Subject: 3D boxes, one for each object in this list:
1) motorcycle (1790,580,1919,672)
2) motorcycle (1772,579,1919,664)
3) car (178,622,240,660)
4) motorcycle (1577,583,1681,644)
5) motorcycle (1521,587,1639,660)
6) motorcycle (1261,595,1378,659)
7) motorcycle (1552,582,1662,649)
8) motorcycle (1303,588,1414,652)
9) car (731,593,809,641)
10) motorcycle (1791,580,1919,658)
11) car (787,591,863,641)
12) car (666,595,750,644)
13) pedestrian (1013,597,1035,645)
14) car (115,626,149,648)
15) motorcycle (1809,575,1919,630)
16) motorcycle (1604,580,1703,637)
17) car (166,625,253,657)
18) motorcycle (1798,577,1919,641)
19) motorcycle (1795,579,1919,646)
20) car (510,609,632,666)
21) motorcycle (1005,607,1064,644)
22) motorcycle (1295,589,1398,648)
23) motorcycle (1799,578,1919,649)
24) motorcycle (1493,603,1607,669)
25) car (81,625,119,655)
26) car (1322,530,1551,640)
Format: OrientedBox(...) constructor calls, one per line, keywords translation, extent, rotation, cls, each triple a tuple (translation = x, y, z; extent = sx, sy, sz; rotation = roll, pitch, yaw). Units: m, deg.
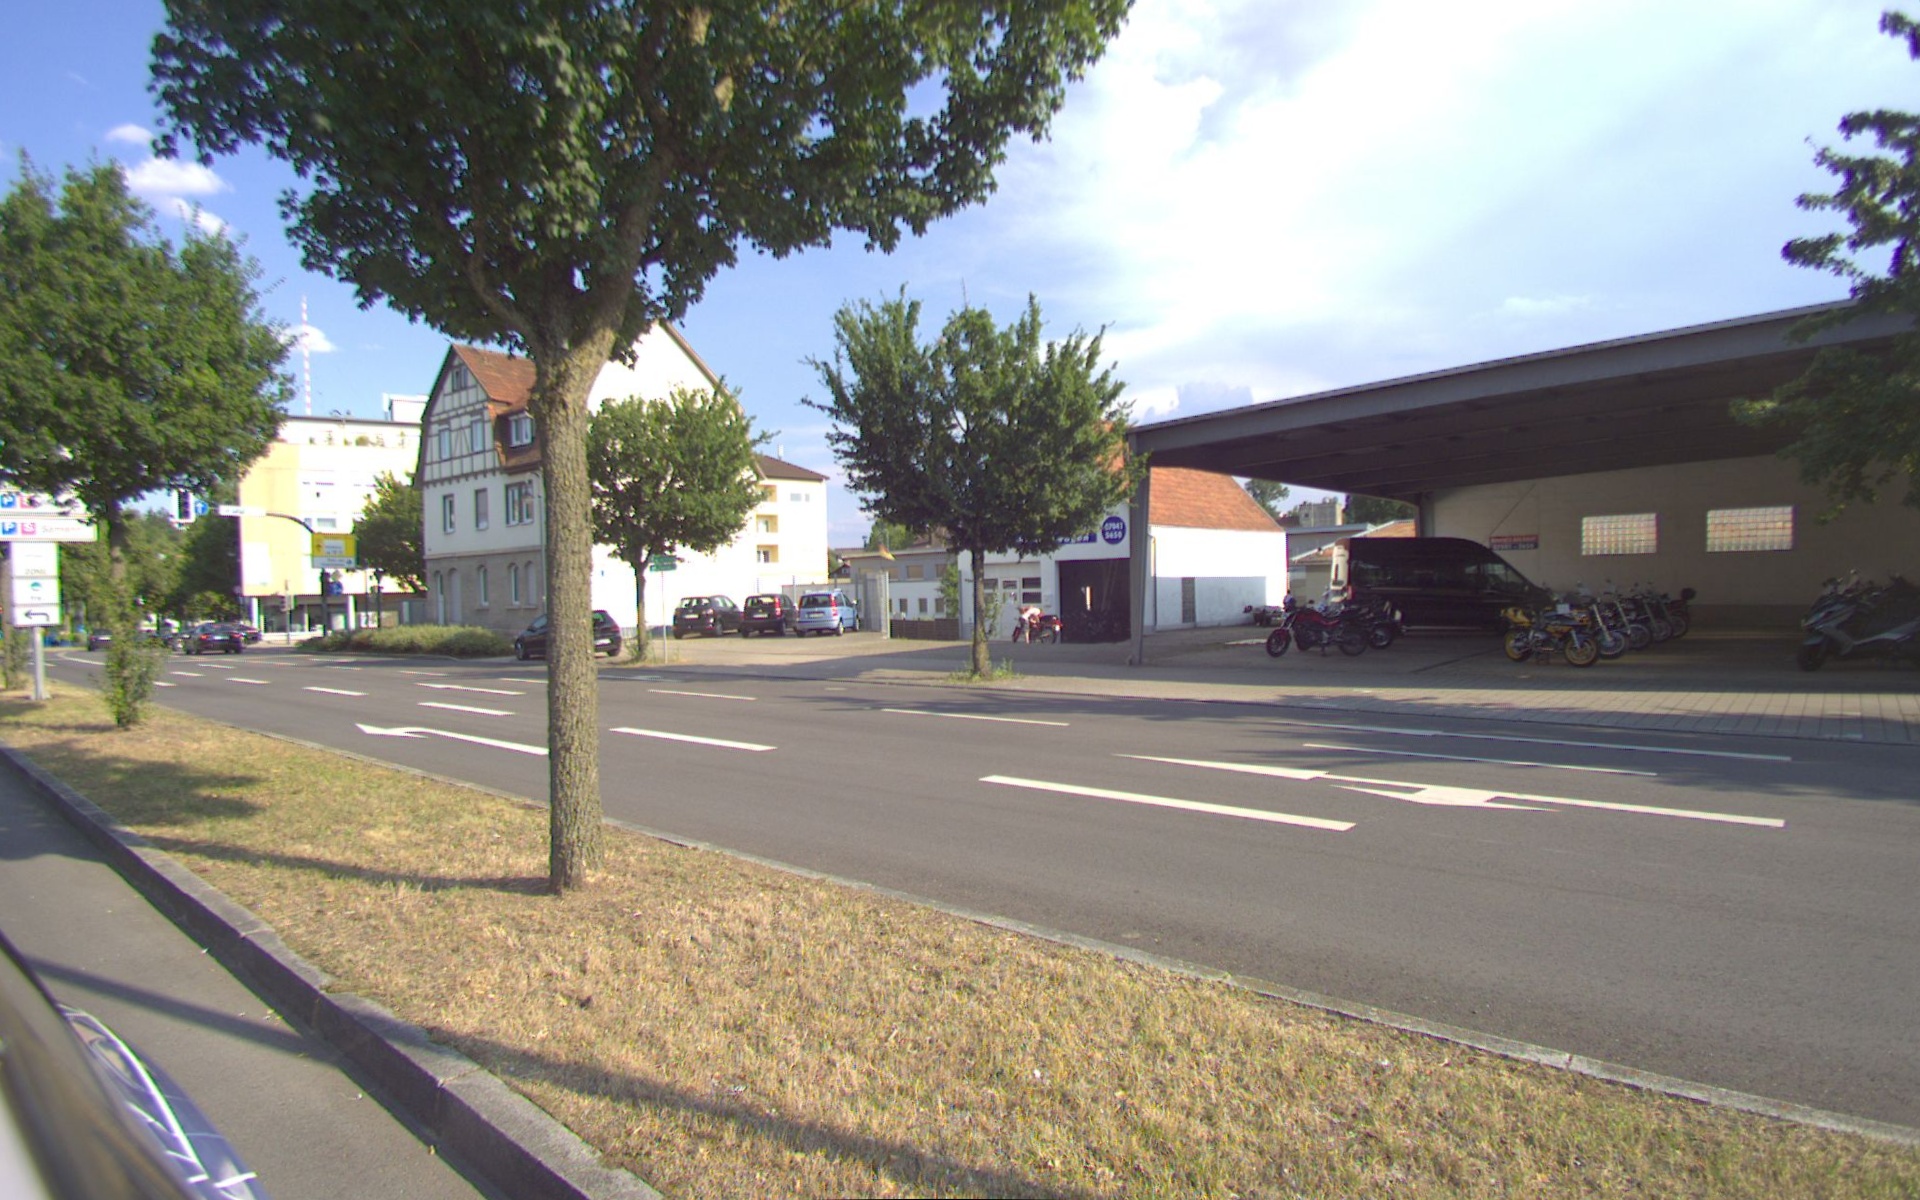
OrientedBox(translation=(13.862, 0.375, 15.122), extent=(2.103, 1.306, 0.628), rotation=(-3, -1, 17), cls="motorcycle")
OrientedBox(translation=(14.914, 0.361, 16.783), extent=(2.103, 1.306, 0.628), rotation=(-3, -1, 17), cls="motorcycle")
OrientedBox(translation=(-35.578, 1.898, 47.914), extent=(4.002, 1.706, 1.757), rotation=(-1, 0, 45), cls="car")
OrientedBox(translation=(15.538, 0.302, 23.586), extent=(0.621, 1.347, 2.269), rotation=(-1, 0, -9), cls="motorcycle")
OrientedBox(translation=(12.159, 0.437, 19.963), extent=(0.621, 1.347, 2.269), rotation=(-1, 0, -9), cls="motorcycle")
OrientedBox(translation=(7.497, 0.561, 21.167), extent=(2.202, 1.290, 0.629), rotation=(-1, 0, 11), cls="motorcycle")
OrientedBox(translation=(13.865, 0.324, 21.776), extent=(0.621, 1.347, 2.269), rotation=(-1, 0, -9), cls="motorcycle")
OrientedBox(translation=(8.957, 0.450, 22.811), extent=(2.198, 1.372, 0.630), rotation=(-1, 0, 5), cls="motorcycle")
OrientedBox(translation=(-6.920, 0.585, 37.314), extent=(1.797, 1.512, 3.819), rotation=(-3, 2, 5), cls="car")
OrientedBox(translation=(16.532, 0.340, 18.355), extent=(2.103, 1.306, 0.628), rotation=(-3, -1, 17), cls="motorcycle")
OrientedBox(translation=(-4.681, 0.519, 35.684), extent=(1.797, 1.512, 3.819), rotation=(-3, 2, 5), cls="car")
OrientedBox(translation=(-9.321, 0.689, 37.706), extent=(1.797, 1.512, 3.819), rotation=(-3, 2, 5), cls="car")
OrientedBox(translation=(2.073, 0.675, 32.771), extent=(0.485, 1.530, 0.496), rotation=(-1, 0, 41), cls="pedestrian")
OrientedBox(translation=(-66.898, 2.961, 81.814), extent=(1.753, 1.706, 4.010), rotation=(-1, 0, -34), cls="car")
OrientedBox(translation=(23.735, 0.072, 26.528), extent=(2.103, 1.306, 0.628), rotation=(-3, -1, 17), cls="motorcycle")
OrientedBox(translation=(17.292, 0.219, 25.310), extent=(0.621, 1.347, 2.269), rotation=(-1, 0, -9), cls="motorcycle")
OrientedBox(translation=(-43.569, 2.366, 58.782), extent=(3.937, 1.687, 1.790), rotation=(-1, 0, -41), cls="car")
OrientedBox(translation=(20.229, 0.206, 22.651), extent=(2.103, 1.306, 0.628), rotation=(-3, -1, 17), cls="motorcycle")
OrientedBox(translation=(19.035, 0.256, 21.296), extent=(2.103, 1.306, 0.628), rotation=(-3, -1, 17), cls="motorcycle")
OrientedBox(translation=(-11.599, 1.079, 30.083), extent=(3.823, 1.462, 1.795), rotation=(-1, 2, 42), cls="car")
OrientedBox(translation=(2.435, 0.838, 33.217), extent=(1.974, 1.194, 0.577), rotation=(-1, 0, 41), cls="motorcycle")
OrientedBox(translation=(9.380, 0.452, 24.614), extent=(2.198, 1.372, 0.630), rotation=(-1, 0, 5), cls="motorcycle")
OrientedBox(translation=(18.046, 0.269, 19.995), extent=(2.103, 1.306, 0.628), rotation=(-3, -1, 17), cls="motorcycle")
OrientedBox(translation=(10.532, 0.619, 18.158), extent=(0.621, 1.095, 2.038), rotation=(-1, 0, -7), cls="motorcycle")
OrientedBox(translation=(-52.899, 2.445, 62.271), extent=(1.755, 1.706, 4.006), rotation=(-1, 0, -40), cls="car")
OrientedBox(translation=(12.867, -0.379, 27.635), extent=(5.221, 2.773, 1.996), rotation=(-1, 0, 7), cls="car")
